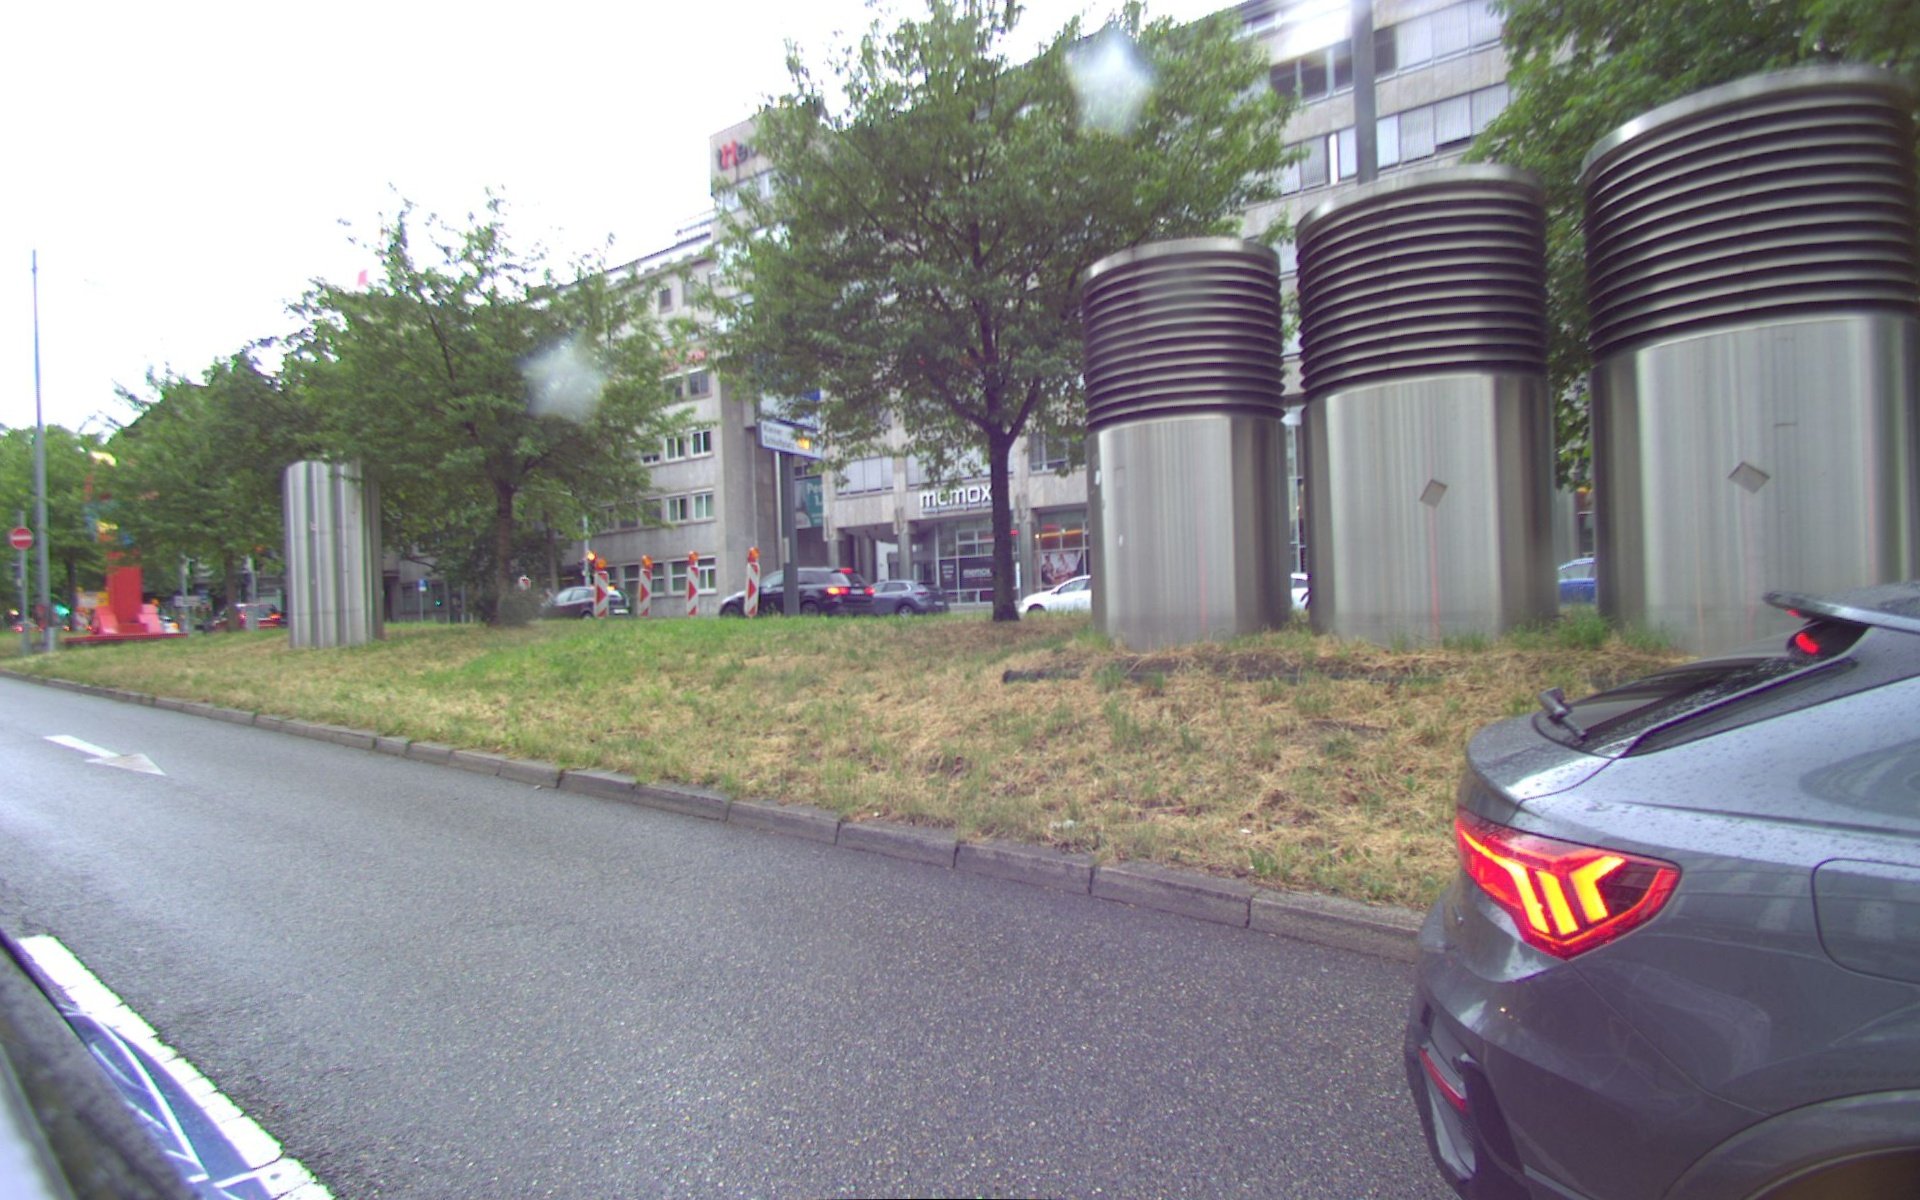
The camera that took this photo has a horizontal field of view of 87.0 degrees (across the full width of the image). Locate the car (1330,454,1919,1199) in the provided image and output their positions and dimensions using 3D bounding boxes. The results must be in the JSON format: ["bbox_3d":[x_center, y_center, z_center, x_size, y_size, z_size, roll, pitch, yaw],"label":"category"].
[{"bbox_3d":[2.834,0.572,0.995,4.247,1.628,1.830,-2,0,39],"label":"car"}]

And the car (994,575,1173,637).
[{"bbox_3d":[3.490,0.206,29.189,4.905,1.634,1.759,-2,-1,38],"label":"car"}]

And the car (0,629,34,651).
[{"bbox_3d":[-77.946,3.269,83.238,3.993,1.713,1.928,-2,0,37],"label":"car"}]

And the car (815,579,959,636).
[{"bbox_3d":[-2.496,0.291,33.764,4.785,1.739,1.844,-2,-1,38],"label":"car"}]

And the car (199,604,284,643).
[{"bbox_3d":[-34.386,1.146,48.394,4.568,1.740,1.711,-2,0,33],"label":"car"}]

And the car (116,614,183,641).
[{"bbox_3d":[-47.397,1.627,59.184,4.180,1.486,1.805,-2,0,33],"label":"car"}]

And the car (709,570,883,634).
[{"bbox_3d":[-4.336,0.072,26.575,4.368,1.497,1.791,-2,2,32],"label":"car"}]

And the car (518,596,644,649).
[{"bbox_3d":[-12.125,0.713,32.319,3.990,1.497,1.790,-1,2,35],"label":"car"}]

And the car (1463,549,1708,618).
[{"bbox_3d":[13.852,-0.334,22.615,4.465,1.335,1.876,-2,0,34],"label":"car"}]

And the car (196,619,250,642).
[{"bbox_3d":[-50.467,2.102,69.272,4.568,1.498,1.769,-2,-1,38],"label":"car"}]

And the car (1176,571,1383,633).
[{"bbox_3d":[8.066,0.088,25.790,4.677,1.412,1.759,-2,-1,38],"label":"car"}]

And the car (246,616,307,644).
[{"bbox_3d":[-42.881,1.903,63.476,4.461,1.634,1.844,-2,-1,38],"label":"car"}]

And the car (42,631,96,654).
[{"bbox_3d":[-62.883,3.008,71.418,3.987,1.486,1.853,-2,0,33],"label":"car"}]

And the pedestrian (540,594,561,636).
[{"bbox_3d":[-18.190,0.671,44.978,0.721,1.801,0.522,-2,0,42],"label":"pedestrian"}]

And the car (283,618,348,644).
[{"bbox_3d":[-38.565,1.867,60.555,4.559,1.440,1.844,-2,-1,38],"label":"car"}]
